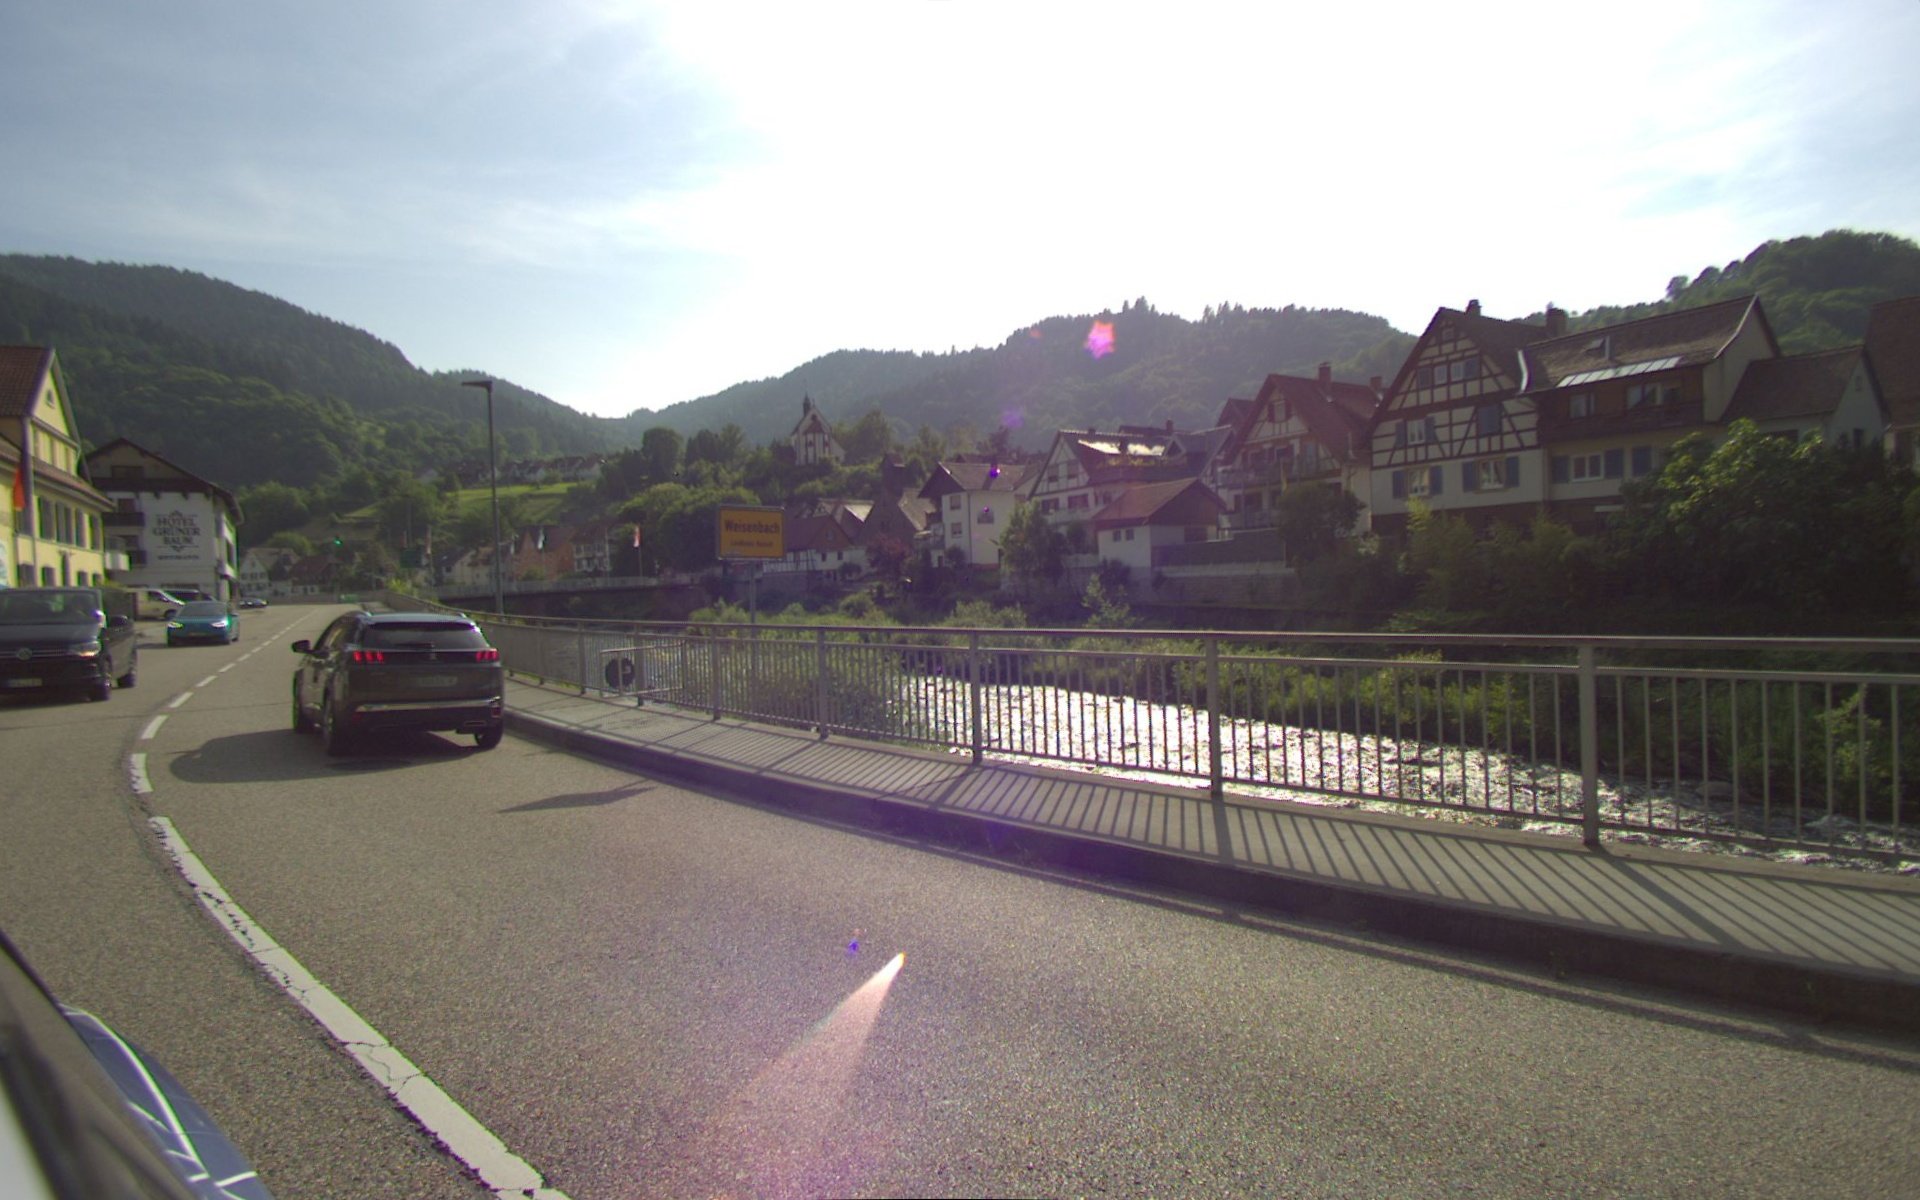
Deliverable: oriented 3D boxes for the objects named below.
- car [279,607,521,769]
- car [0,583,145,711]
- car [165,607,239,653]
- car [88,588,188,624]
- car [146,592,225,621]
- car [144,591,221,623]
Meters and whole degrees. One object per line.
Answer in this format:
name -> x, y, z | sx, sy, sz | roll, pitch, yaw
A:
car -> -7.042, 0.964, 12.535 | 1.793, 1.655, 4.006 | 3, -3, -41
car -> -16.015, 0.724, 17.905 | 1.857, 1.979, 4.880 | -1, 0, -31
car -> -27.021, 1.030, 36.181 | 1.655, 1.533, 3.878 | 0, 0, -30
car -> -50.214, 0.385, 61.929 | 4.381, 1.973, 1.719 | 3, -2, -29
car -> -51.530, 0.432, 67.388 | 3.931, 1.896, 1.690 | 1, -1, -28
car -> -50.034, 0.446, 65.218 | 3.694, 1.907, 1.376 | 2, -1, -29
